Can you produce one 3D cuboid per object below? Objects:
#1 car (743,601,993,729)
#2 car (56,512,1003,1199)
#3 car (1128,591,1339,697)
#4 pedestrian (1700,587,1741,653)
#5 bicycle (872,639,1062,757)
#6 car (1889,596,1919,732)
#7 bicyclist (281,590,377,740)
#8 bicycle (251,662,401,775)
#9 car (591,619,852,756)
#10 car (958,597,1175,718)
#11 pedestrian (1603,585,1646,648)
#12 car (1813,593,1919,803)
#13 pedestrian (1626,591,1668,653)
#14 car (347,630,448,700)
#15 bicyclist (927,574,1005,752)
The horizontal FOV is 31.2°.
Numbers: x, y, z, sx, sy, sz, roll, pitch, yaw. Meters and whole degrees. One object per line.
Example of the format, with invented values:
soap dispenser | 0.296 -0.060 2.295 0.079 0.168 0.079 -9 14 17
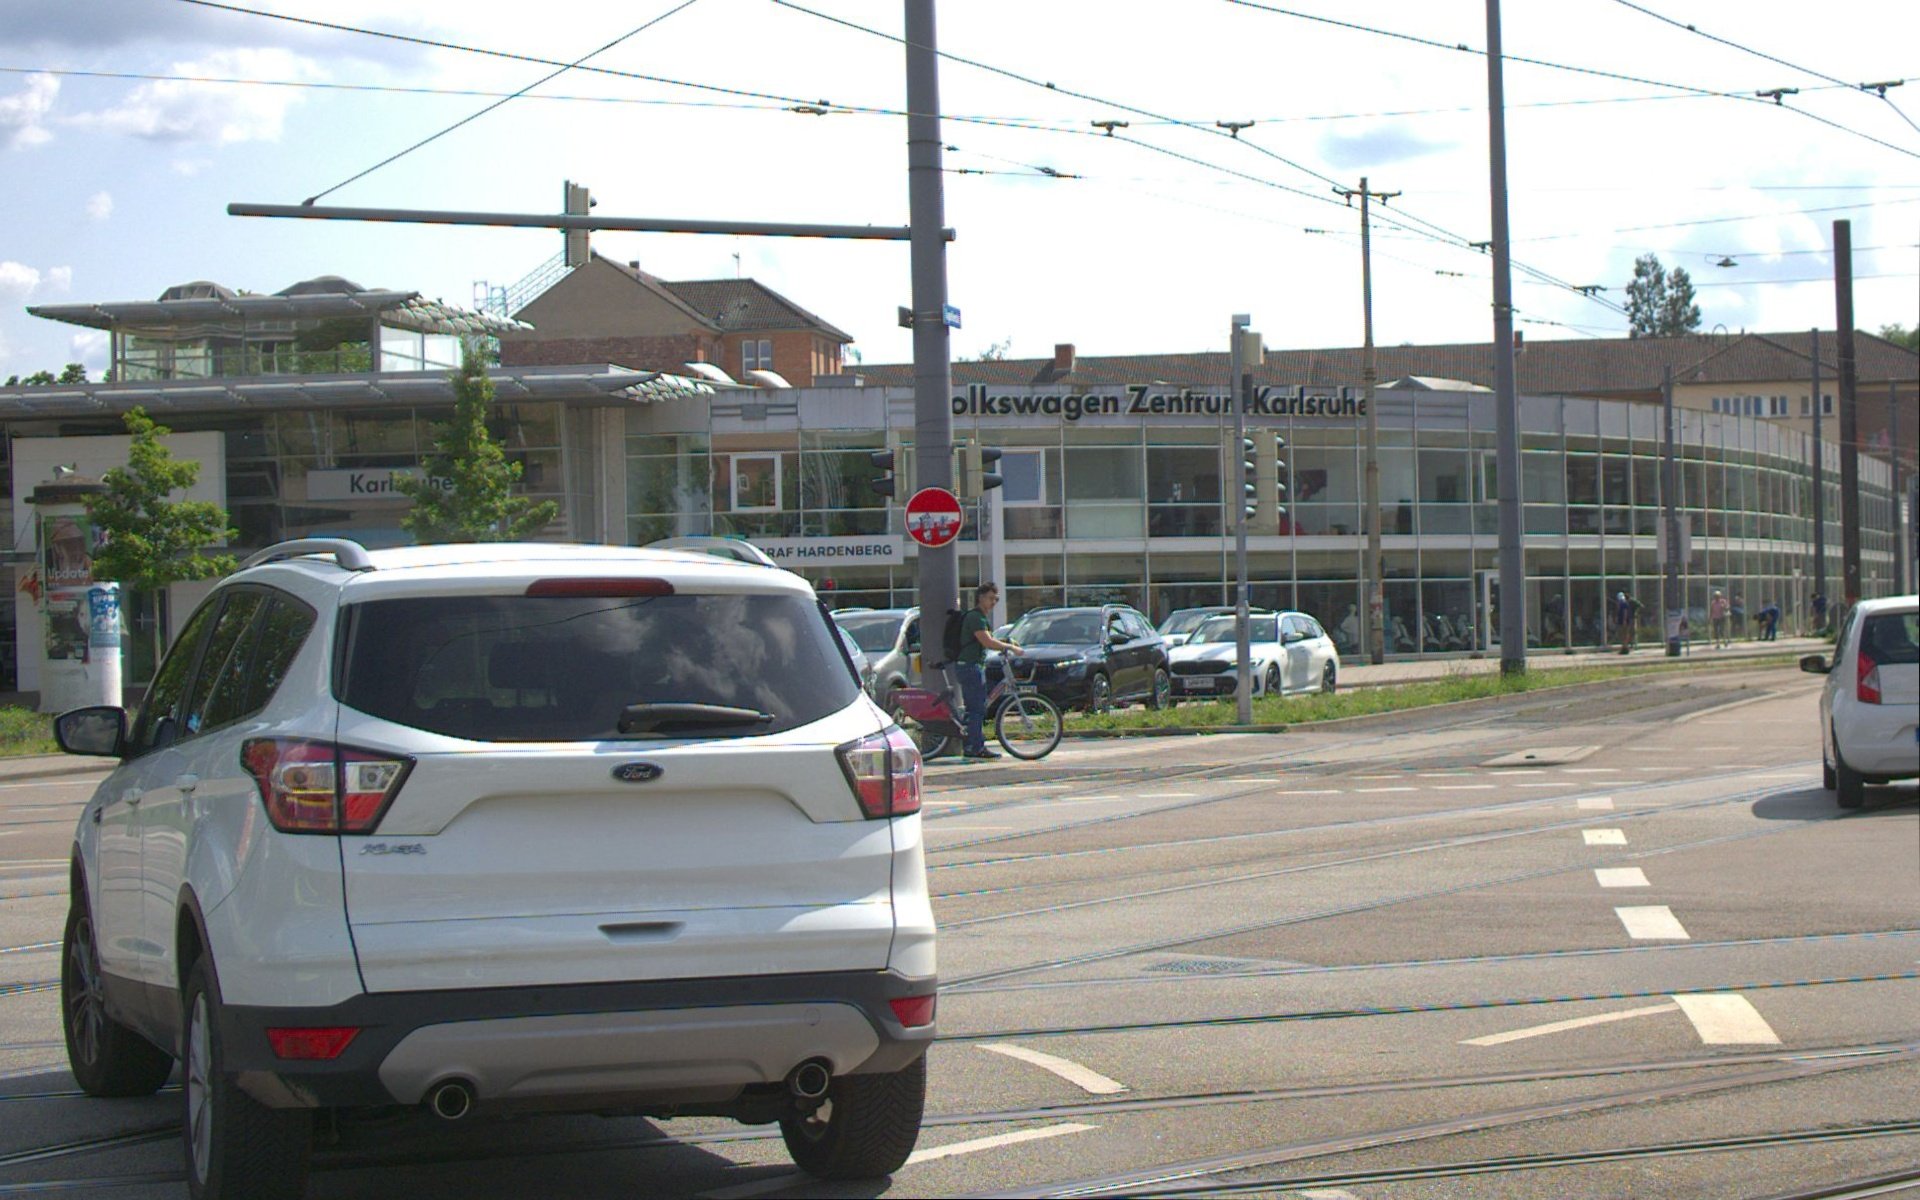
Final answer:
car | -1.189 0.848 46.475 1.739 1.568 3.995 -2 0 25
car | -1.428 0.683 9.667 1.826 1.658 3.956 -2 -1 -19
car | 4.173 0.644 51.895 1.902 1.457 3.963 -3 -1 24
pedestrian | 22.010 0.584 99.464 0.877 1.916 0.874 0 -1 35
bicycle | 0.074 0.961 33.761 1.779 1.121 0.639 -1 0 9
car | 11.220 0.675 37.352 1.852 1.414 3.675 -1 -1 20
bicyclist | -7.227 0.738 39.378 0.760 1.677 0.760 -2 -1 17
bicycle | -7.224 1.334 39.286 0.760 1.188 2.149 -2 0 16
car | -2.597 0.943 38.313 1.738 1.369 3.638 -2 0 16
car | 1.466 0.736 45.722 1.690 1.456 3.965 -3 0 20
pedestrian | 18.367 0.469 95.013 0.877 1.731 0.874 0 -1 38
car | 7.292 0.662 25.419 1.651 1.417 3.997 -2 0 17
pedestrian | 19.370 0.616 96.911 0.877 1.731 0.874 0 -1 38
car | -13.198 1.546 80.892 1.818 1.529 3.917 -3 -1 -2
bicyclist | 0.063 0.614 33.778 0.660 1.732 0.639 0 0 9
